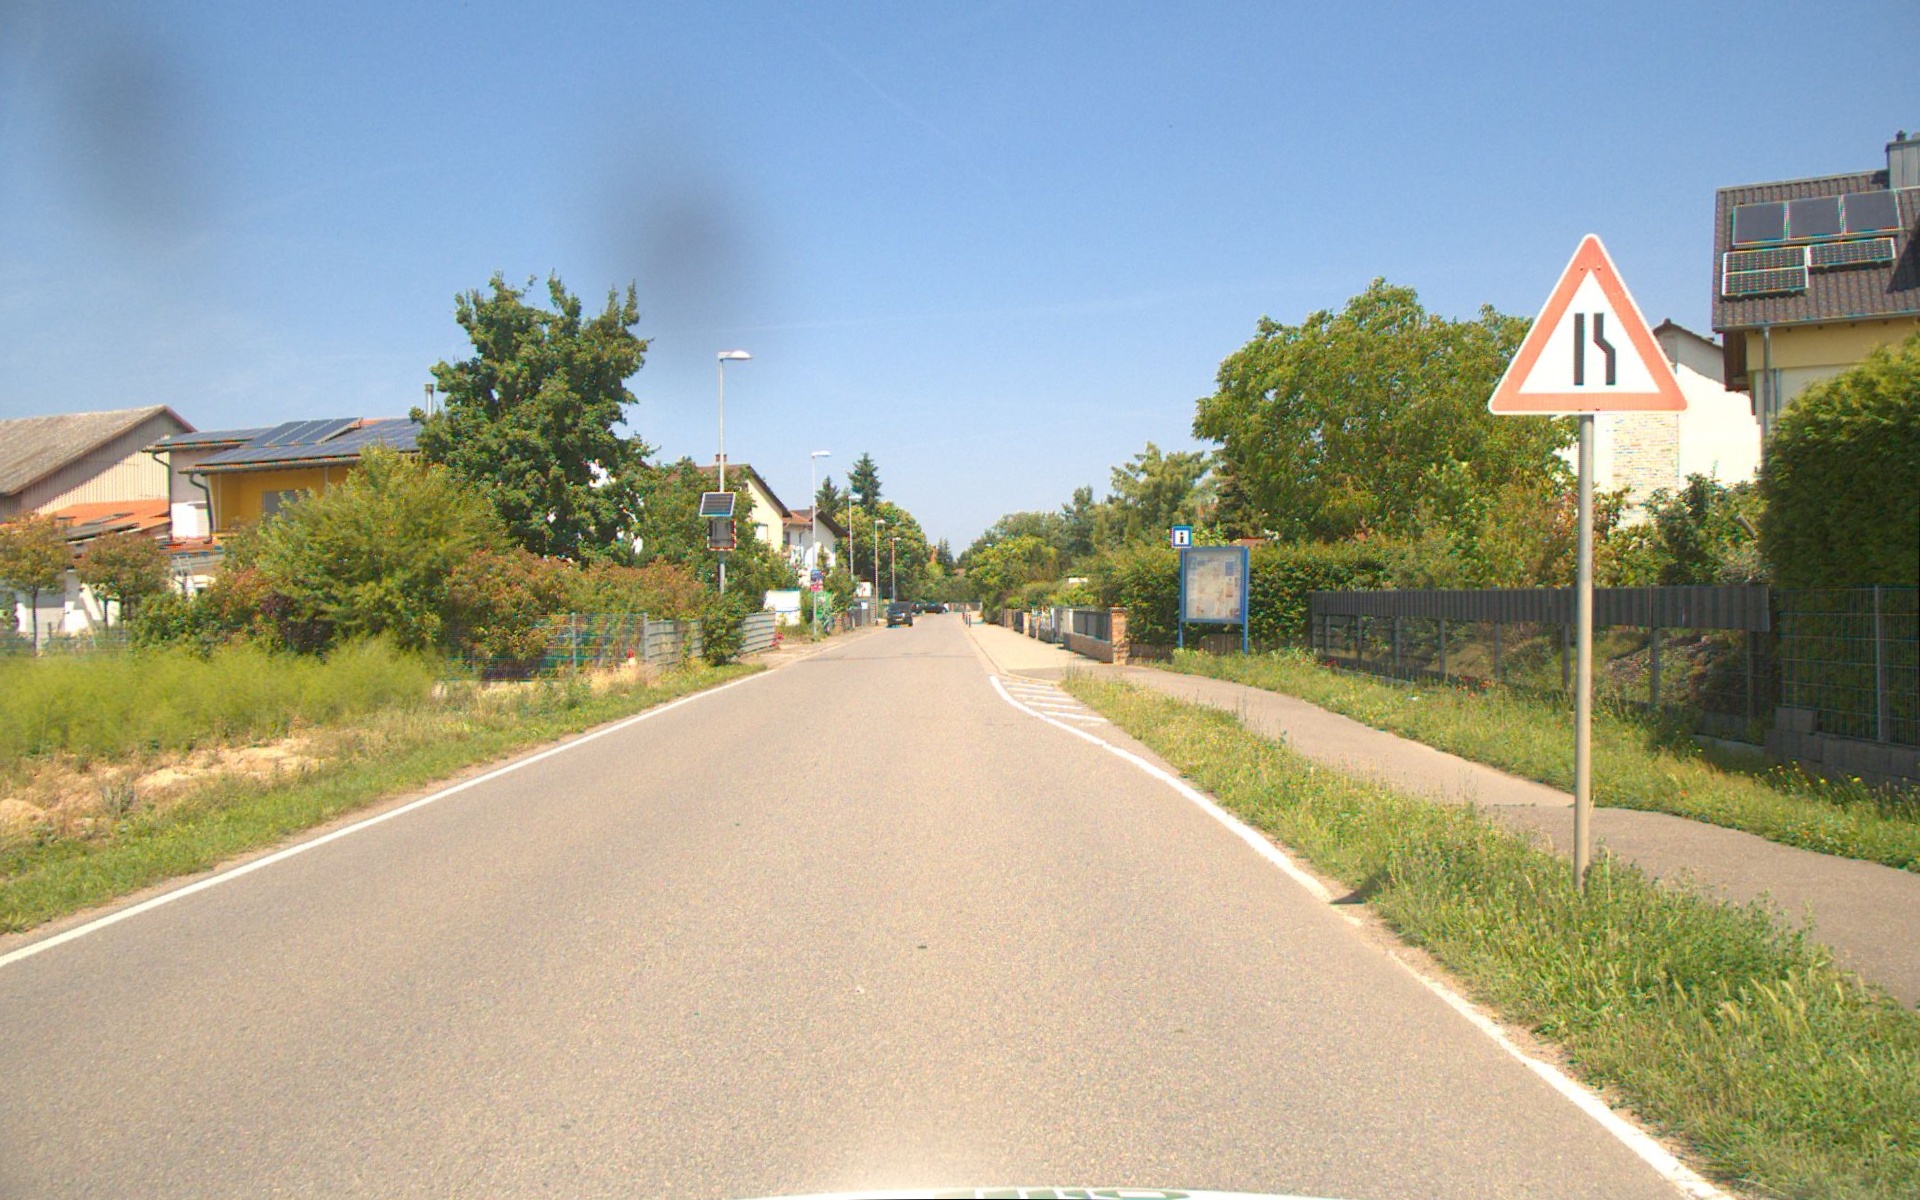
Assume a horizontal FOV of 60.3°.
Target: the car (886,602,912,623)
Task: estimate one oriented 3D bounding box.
[{"bbox_3d":[-4.457,0.889,121.135,1.723,1.409,3.452,-2,0,-1],"label":"car"}]
